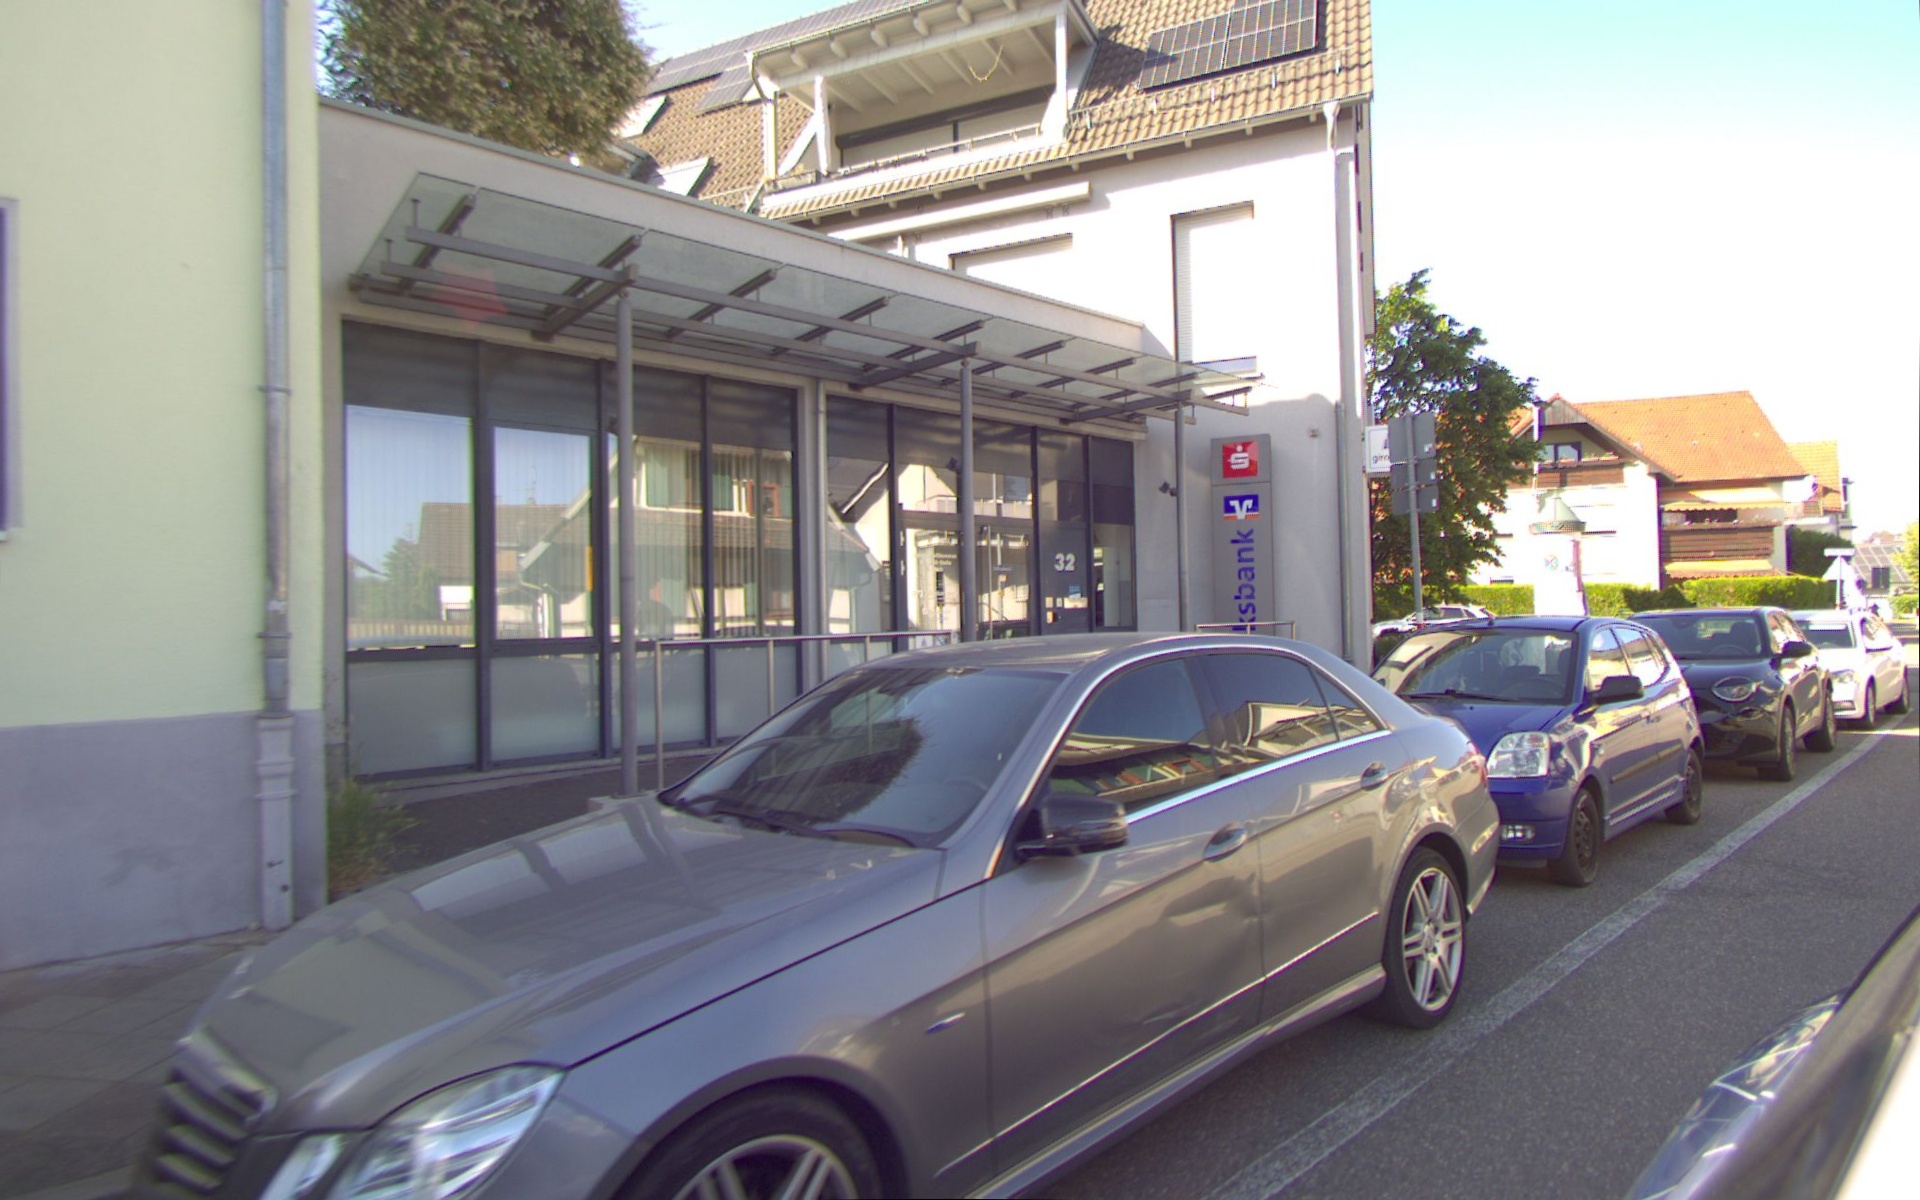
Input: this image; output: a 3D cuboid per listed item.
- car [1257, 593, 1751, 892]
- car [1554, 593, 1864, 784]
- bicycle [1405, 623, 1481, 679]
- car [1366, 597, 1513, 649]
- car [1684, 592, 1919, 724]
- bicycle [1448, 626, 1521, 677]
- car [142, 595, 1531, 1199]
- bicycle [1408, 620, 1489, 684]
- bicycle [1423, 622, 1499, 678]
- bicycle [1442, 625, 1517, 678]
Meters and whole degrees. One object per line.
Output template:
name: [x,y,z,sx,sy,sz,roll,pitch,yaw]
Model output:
car: [3.902,0.748,7.002,3.807,1.494,1.727,0,-3,-41]
car: [7.552,0.746,10.068,3.902,1.540,1.612,0,-3,-41]
bicycle: [8.276,0.857,17.362,0.307,0.932,1.167,0,-1,-33]
car: [16.199,0.766,34.258,4.275,1.613,1.792,-1,0,35]
car: [11.737,0.693,13.844,4.425,1.533,1.849,0,-2,-39]
bicycle: [9.814,0.950,18.951,0.308,0.932,1.163,0,-1,-43]
car: [0.078,0.779,3.412,4.367,1.494,1.810,0,-3,-41]
bicycle: [7.970,0.828,16.542,0.313,0.988,1.227,0,-1,-28]
bicycle: [8.645,0.845,17.505,0.307,0.932,1.167,0,-1,-33]
bicycle: [9.424,0.919,18.398,0.308,0.932,1.163,0,-1,-43]
